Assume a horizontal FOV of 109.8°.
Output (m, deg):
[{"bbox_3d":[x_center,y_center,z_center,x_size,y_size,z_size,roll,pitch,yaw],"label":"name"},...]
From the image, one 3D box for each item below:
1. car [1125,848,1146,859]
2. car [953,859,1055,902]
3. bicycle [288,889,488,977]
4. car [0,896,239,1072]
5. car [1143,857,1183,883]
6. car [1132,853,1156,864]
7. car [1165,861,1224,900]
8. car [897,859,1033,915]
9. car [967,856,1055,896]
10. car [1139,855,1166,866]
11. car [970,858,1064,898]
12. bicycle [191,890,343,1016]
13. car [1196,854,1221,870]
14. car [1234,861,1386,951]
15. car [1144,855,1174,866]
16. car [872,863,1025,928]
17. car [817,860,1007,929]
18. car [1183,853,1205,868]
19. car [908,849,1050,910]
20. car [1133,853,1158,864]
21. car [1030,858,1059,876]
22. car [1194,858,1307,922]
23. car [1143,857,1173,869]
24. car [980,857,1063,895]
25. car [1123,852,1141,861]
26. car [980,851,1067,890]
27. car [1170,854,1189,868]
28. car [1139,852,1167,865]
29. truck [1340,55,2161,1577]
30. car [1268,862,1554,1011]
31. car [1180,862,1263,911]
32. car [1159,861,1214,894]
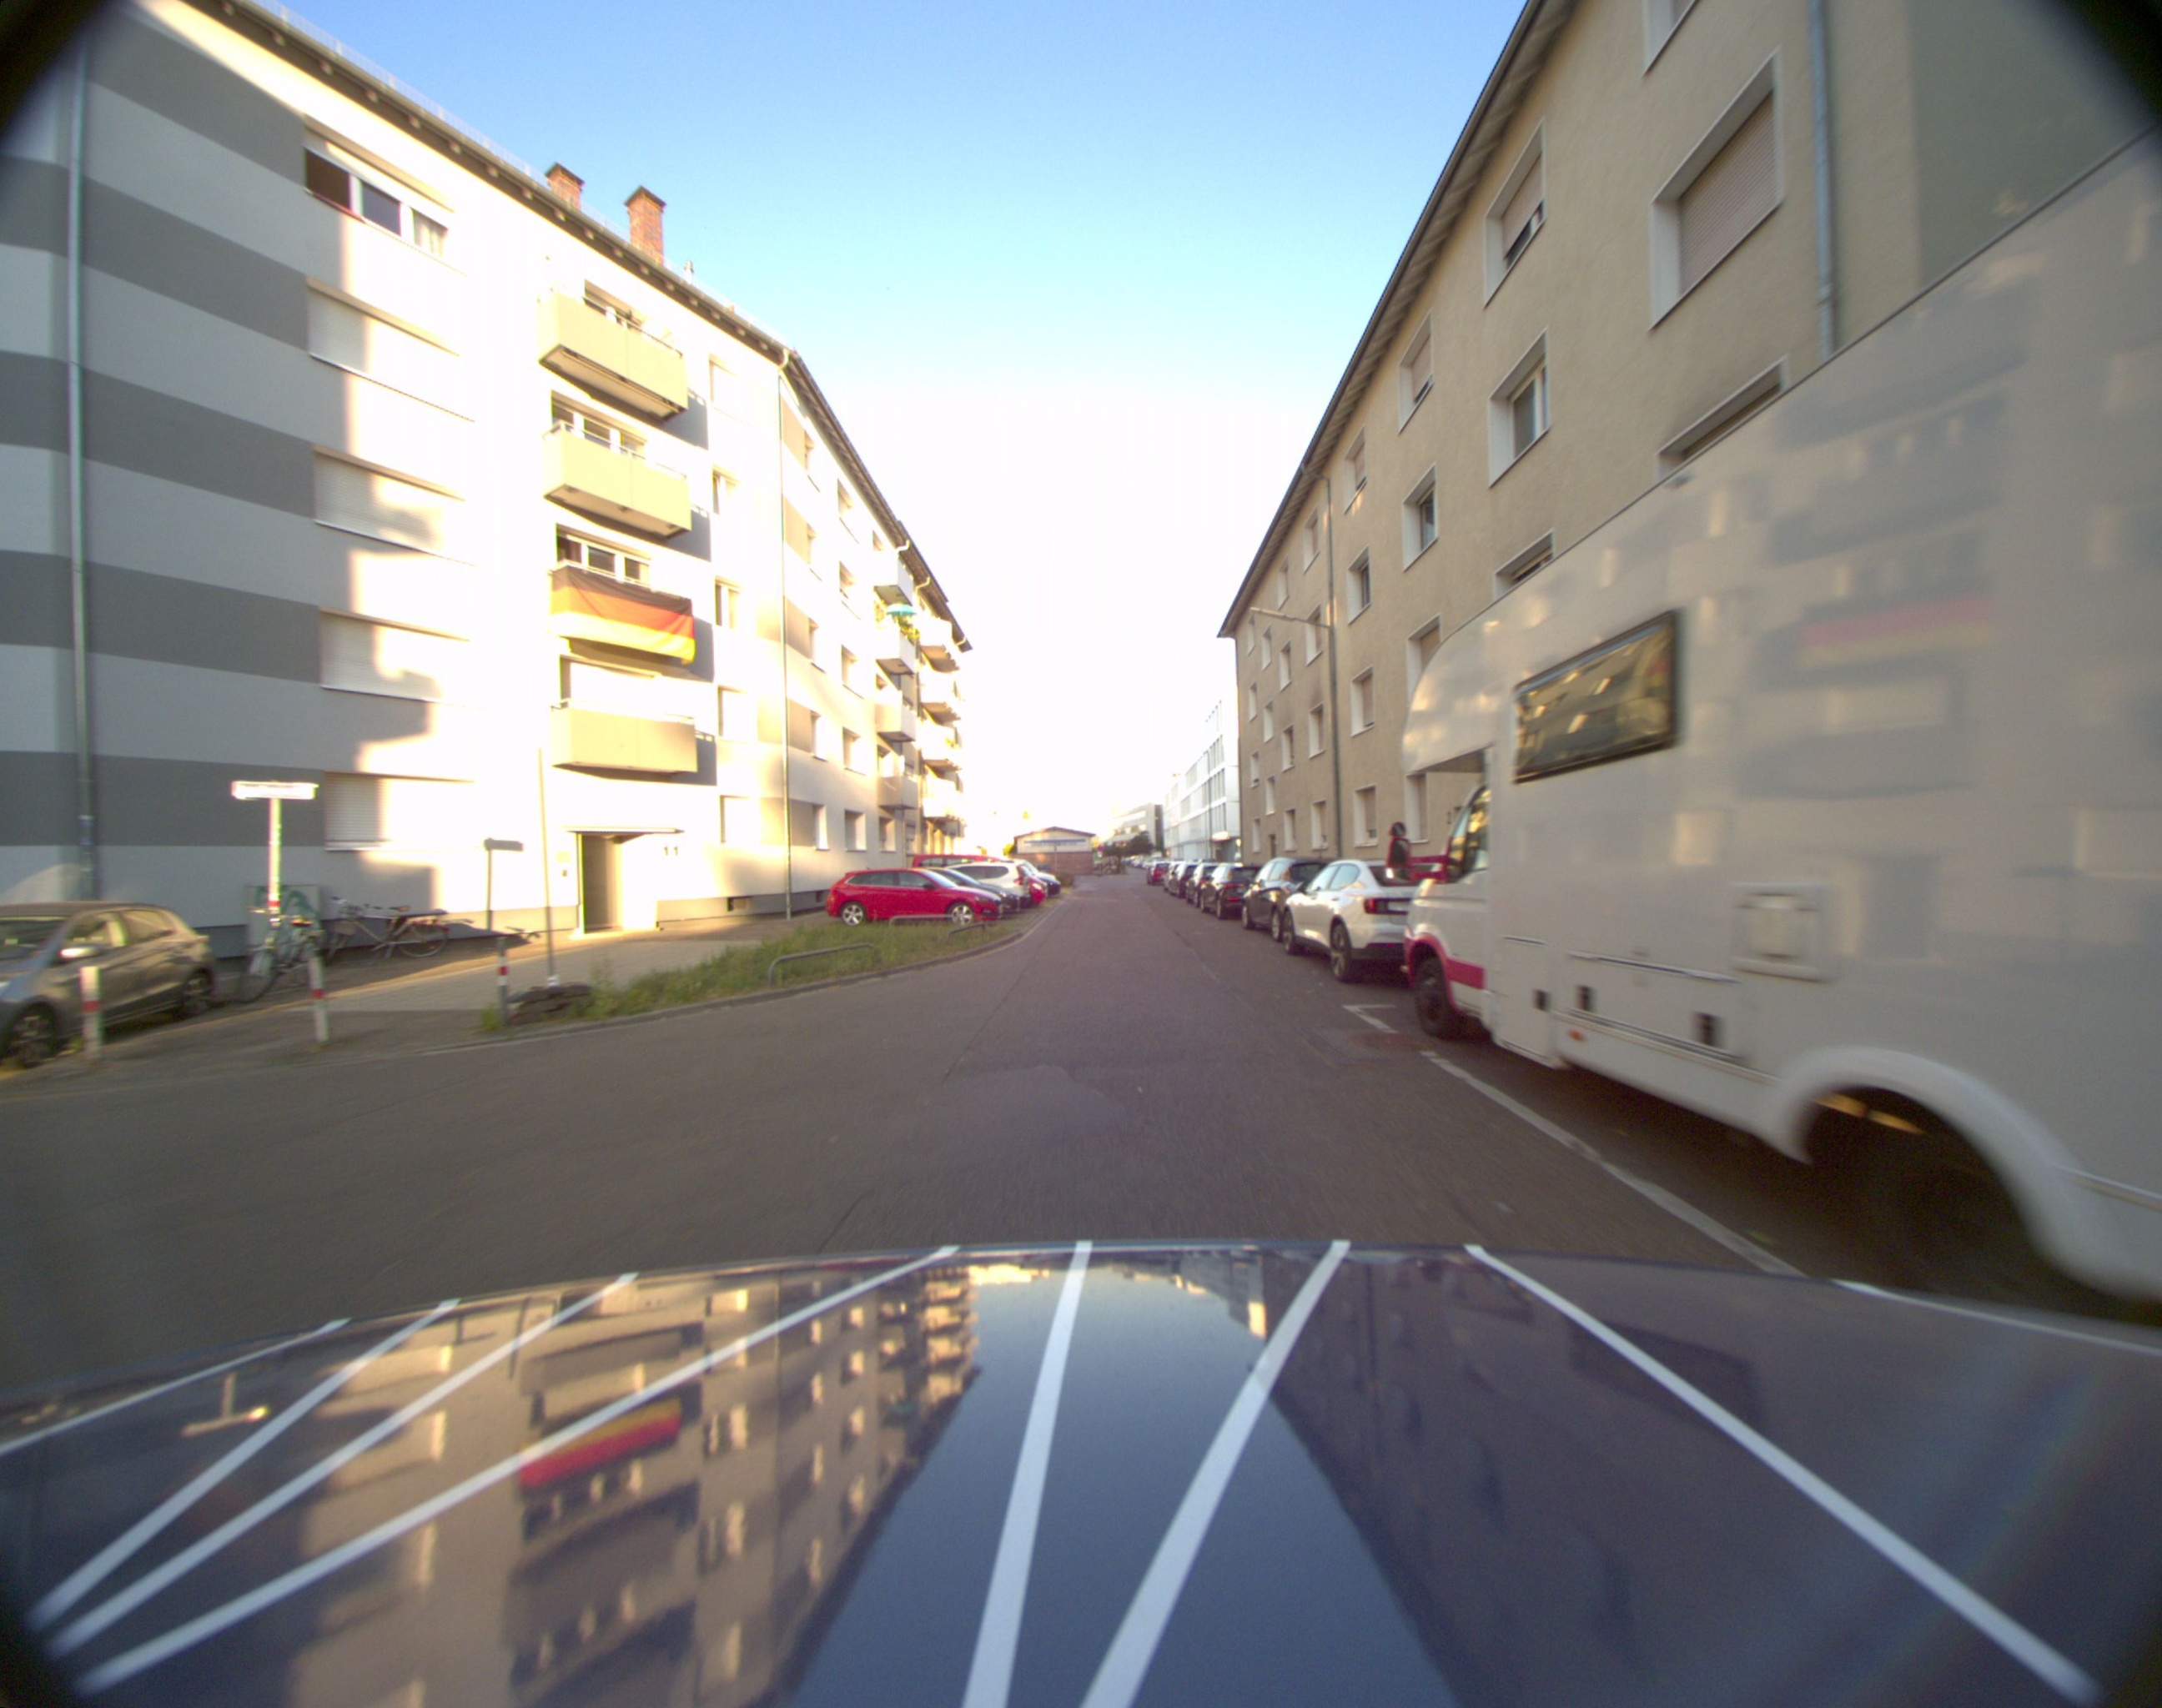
[{"bbox_3d":[10.878,-0.145,151.340,3.996,2.002,2.000,-2,0,1],"label":"car"},{"bbox_3d":[-3.202,1.107,32.294,3.996,1.674,2.000,-2,0,3],"label":"car"},{"bbox_3d":[-12.060,1.315,13.344,0.696,1.266,2.458,-2,0,32],"label":"bicycle"},{"bbox_3d":[-11.006,1.247,7.600,2.002,1.412,3.992,-2,0,-25],"label":"car"},{"bbox_3d":[5.066,0.989,47.522,1.998,1.481,4.432,-2,0,0],"label":"car"},{"bbox_3d":[10.634,0.706,128.187,3.996,1.739,2.000,-2,0,3],"label":"car"},{"bbox_3d":[4.645,1.041,31.608,1.792,1.436,4.432,-2,0,0],"label":"car"},{"bbox_3d":[-3.608,1.016,24.200,3.997,1.619,1.785,-2,0,-1],"label":"car"},{"bbox_3d":[-3.380,1.051,37.279,3.996,1.827,2.000,-2,0,3],"label":"car"},{"bbox_3d":[10.713,1.014,114.296,3.996,1.477,2.001,-2,0,4],"label":"car"},{"bbox_3d":[-2.889,1.087,34.862,3.995,1.674,2.001,-2,0,5],"label":"car"},{"bbox_3d":[-10.585,1.204,9.998,0.517,1.375,2.499,-2,0,-28],"label":"bicycle"},{"bbox_3d":[12.364,0.779,73.804,1.998,1.477,4.001,-2,0,5],"label":"car"},{"bbox_3d":[4.306,0.906,14.964,1.794,1.524,4.068,0,0,0],"label":"car"},{"bbox_3d":[10.462,0.873,102.119,3.996,1.477,2.001,-2,0,4],"label":"car"},{"bbox_3d":[-3.690,1.135,21.762,3.997,1.652,2.000,-2,0,0],"label":"car"},{"bbox_3d":[-4.185,0.986,19.292,4.310,1.532,1.924,-2,0,3],"label":"car"},{"bbox_3d":[11.819,0.712,79.788,1.998,1.477,4.001,-2,0,5],"label":"car"},{"bbox_3d":[-3.542,0.885,27.107,4.684,1.988,2.000,-2,0,3],"label":"car"},{"bbox_3d":[10.714,0.704,125.507,3.996,1.739,2.000,-2,0,3],"label":"car"},{"bbox_3d":[-3.334,1.160,68.555,2.000,1.481,4.428,-2,0,-10],"label":"car"},{"bbox_3d":[4.331,0.860,20.196,1.998,1.436,4.432,-2,0,0],"label":"car"},{"bbox_3d":[10.526,1.231,104.239,3.996,1.477,2.001,-2,0,4],"label":"car"},{"bbox_3d":[-3.033,1.114,39.359,3.996,1.783,2.000,-2,0,3],"label":"car"},{"bbox_3d":[11.842,0.563,176.626,3.996,2.002,2.000,-2,0,1],"label":"car"},{"bbox_3d":[-3.126,0.886,41.626,4.426,1.956,2.001,-2,0,5],"label":"car"},{"bbox_3d":[11.566,0.799,89.430,1.998,1.510,4.001,-2,0,5],"label":"car"},{"bbox_3d":[10.617,0.656,112.042,3.996,1.805,2.001,-2,0,4],"label":"car"},{"bbox_3d":[3.732,-0.084,3.666,2.531,3.334,8.019,1,0,3],"label":"truck"},{"bbox_3d":[4.003,0.880,10.302,1.911,1.468,4.910,1,0,3],"label":"car"},{"bbox_3d":[4.590,1.017,25.484,1.998,1.436,4.432,-2,0,1],"label":"car"},{"bbox_3d":[5.044,1.089,36.869,1.998,1.436,4.432,-2,0,0],"label":"car"}]
